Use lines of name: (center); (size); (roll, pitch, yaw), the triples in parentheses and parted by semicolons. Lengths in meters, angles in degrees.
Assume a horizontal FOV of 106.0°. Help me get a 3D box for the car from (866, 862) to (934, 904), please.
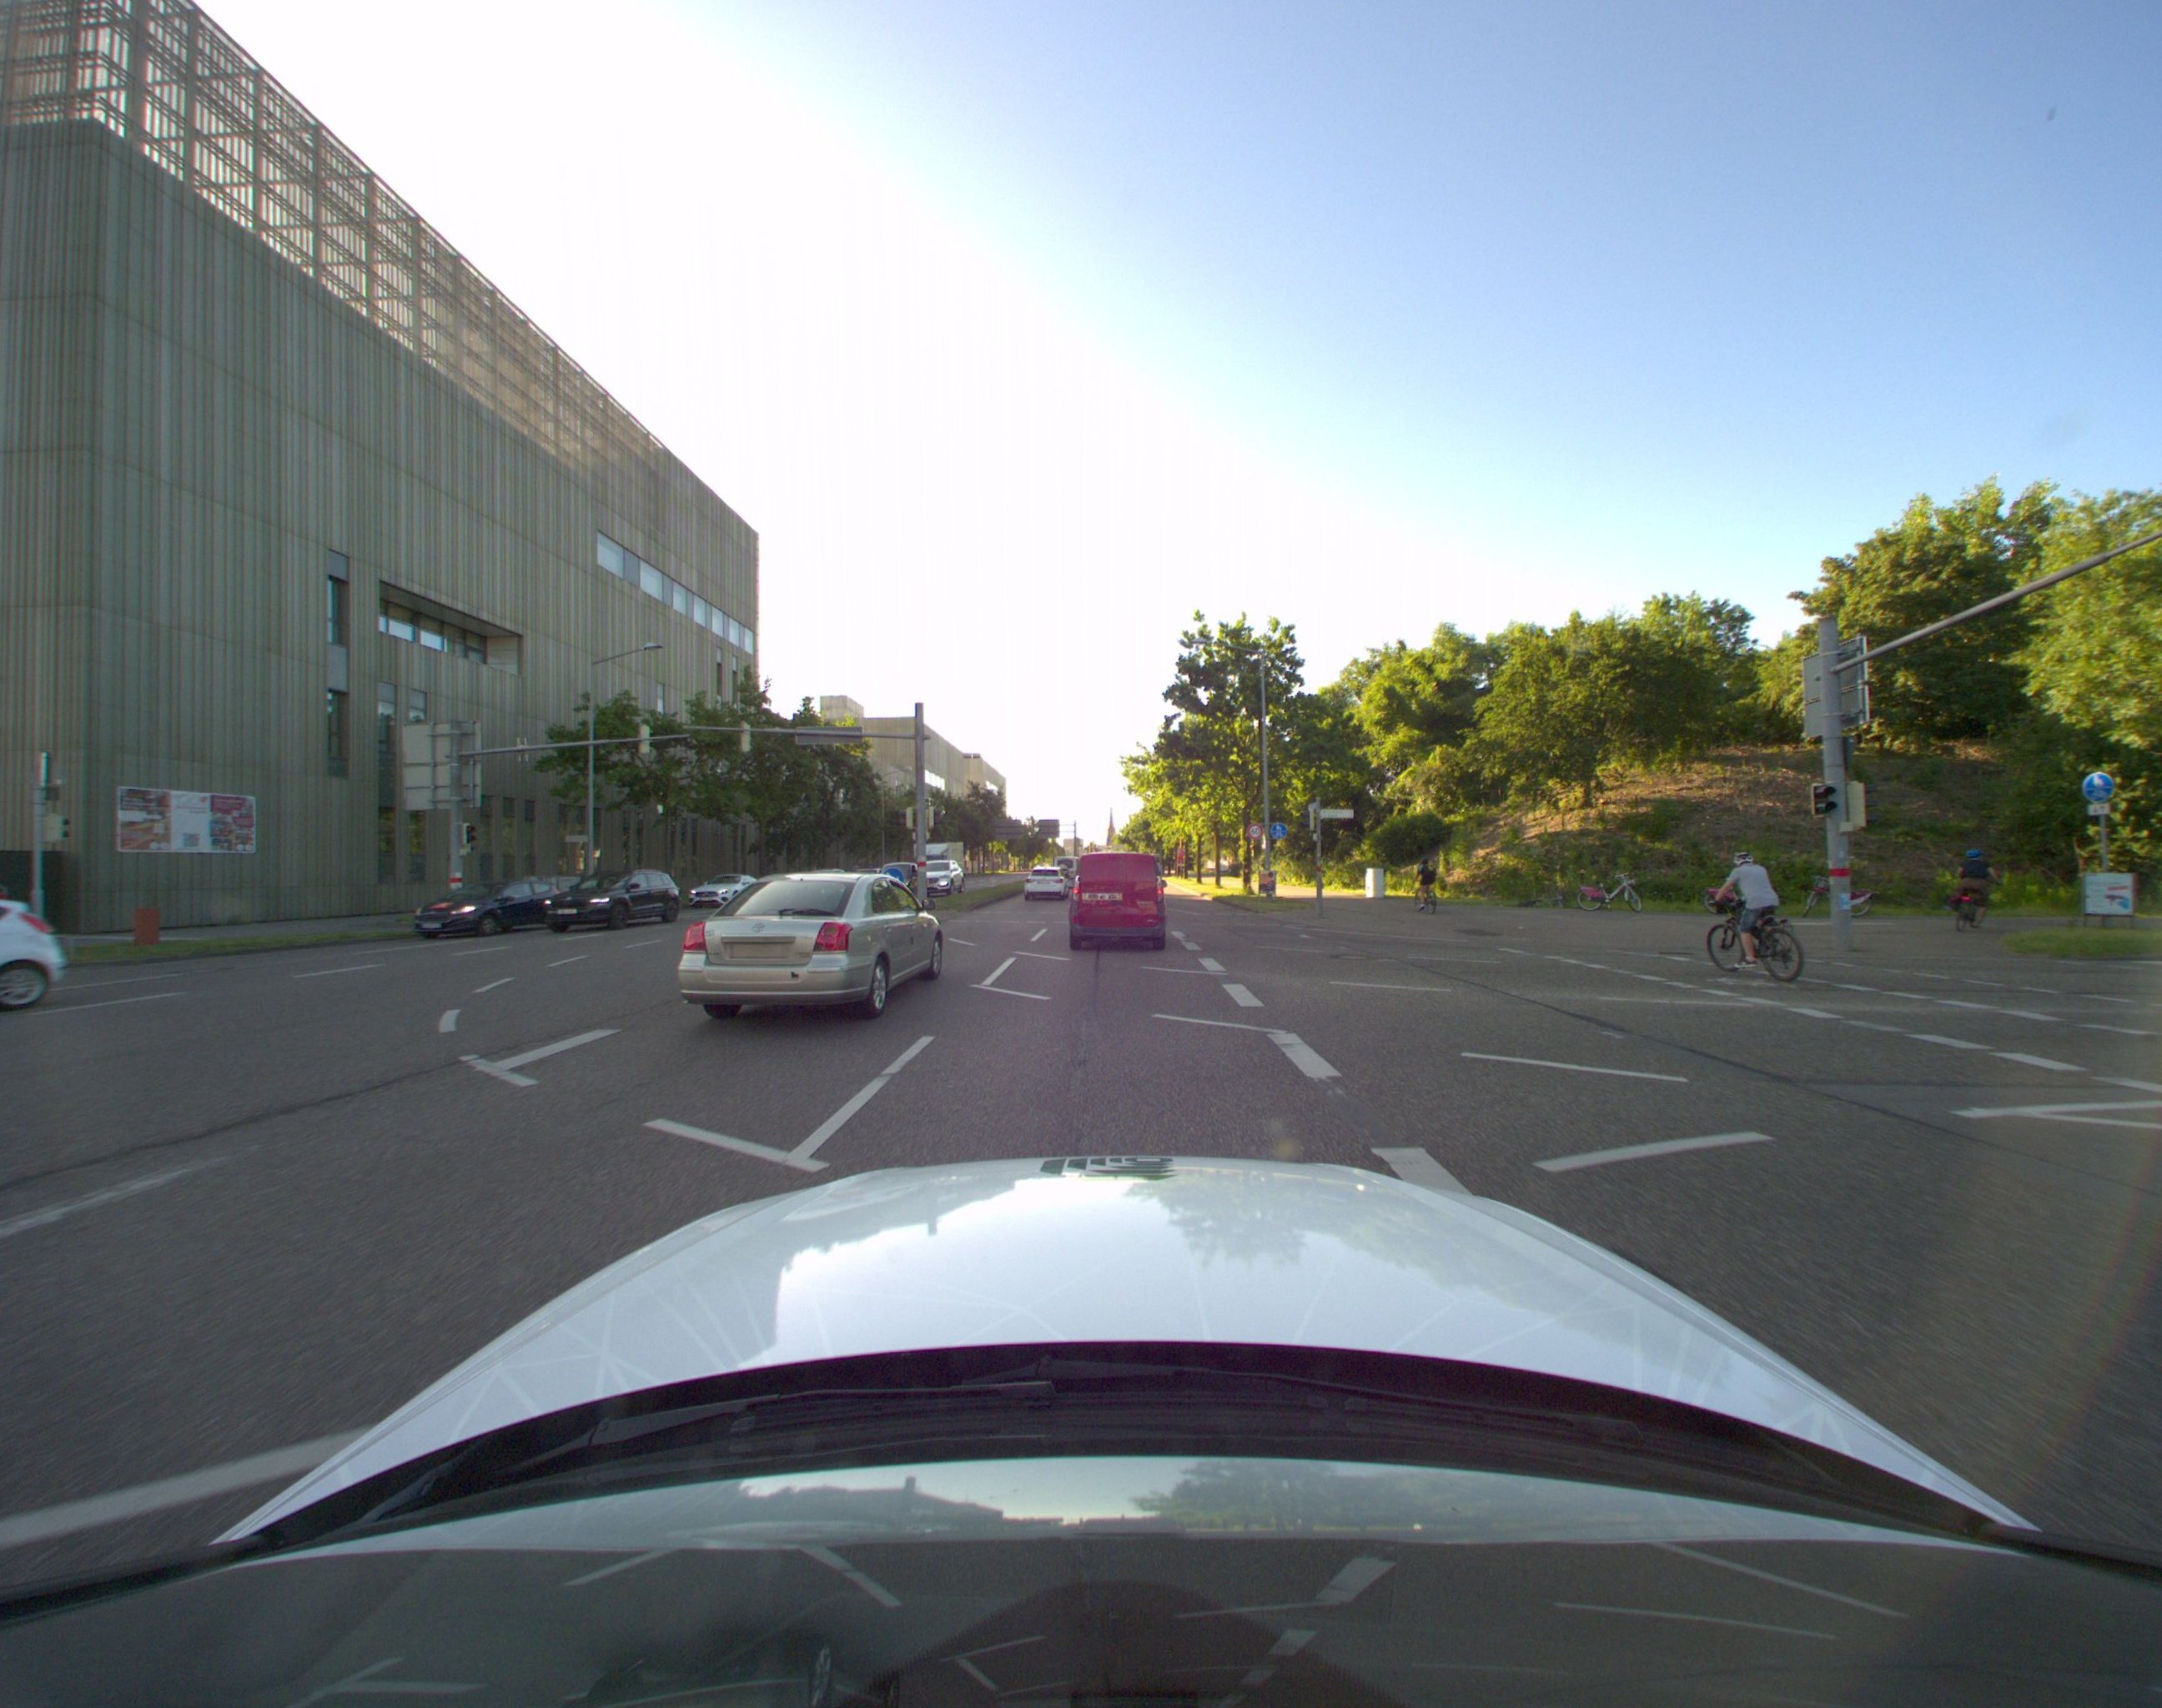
car: (-6.836, 1.088, 31.105); (1.630, 1.443, 3.720); (-3, -1, 2)

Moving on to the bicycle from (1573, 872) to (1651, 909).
bicycle: (14.875, 1.022, 22.843); (1.734, 1.023, 0.595); (0, -3, 9)

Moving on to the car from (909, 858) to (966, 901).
car: (-6.620, 1.172, 37.937); (1.751, 1.796, 4.084); (-3, -1, 2)

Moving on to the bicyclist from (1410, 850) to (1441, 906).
bicyclist: (10.253, 0.722, 24.265); (0.589, 1.614, 0.943); (0, -3, 4)

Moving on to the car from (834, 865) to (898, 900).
car: (-9.666, 1.270, 36.924); (1.630, 1.443, 4.078); (-3, -1, 2)

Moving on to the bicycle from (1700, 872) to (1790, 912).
bicycle: (17.390, 0.989, 21.362); (1.734, 1.023, 0.595); (0, -3, 9)

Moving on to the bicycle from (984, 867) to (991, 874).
bicycle: (-18.000, 3.160, 156.891); (0.906, 1.200, 3.302); (0, -2, 2)

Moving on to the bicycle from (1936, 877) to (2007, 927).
bicycle: (19.162, 1.017, 17.523); (2.063, 1.023, 0.667); (2, -3, -33)

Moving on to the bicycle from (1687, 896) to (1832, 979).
bicycle: (9.162, 1.090, 11.095); (0.589, 1.023, 1.752); (0, -2, 4)

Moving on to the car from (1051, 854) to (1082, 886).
car: (-0.894, 1.094, 52.830); (1.794, 1.989, 4.588); (0, -2, 1)

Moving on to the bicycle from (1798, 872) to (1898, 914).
bicycle: (19.150, 0.977, 20.369); (1.733, 1.023, 0.595); (0, -3, 12)

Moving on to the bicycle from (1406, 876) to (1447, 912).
bicycle: (10.267, 1.184, 24.249); (0.589, 1.023, 1.752); (0, -2, 4)

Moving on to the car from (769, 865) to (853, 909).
car: (-10.000, 1.204, 30.481); (1.630, 1.443, 4.078); (-3, -1, 2)

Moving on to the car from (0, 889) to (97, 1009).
car: (-13.762, 1.166, 8.663); (1.640, 1.404, 3.980); (-3, -1, 3)

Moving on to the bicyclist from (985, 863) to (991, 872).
bicyclist: (-18.005, 2.571, 156.915); (0.906, 1.686, 1.409); (0, -2, 2)

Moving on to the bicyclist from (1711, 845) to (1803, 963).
bicyclist: (9.153, 0.668, 11.057); (0.589, 1.549, 0.770); (0, -3, 4)

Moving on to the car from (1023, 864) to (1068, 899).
car: (-1.498, 1.171, 35.693); (1.808, 1.438, 3.730); (0, -1, 0)

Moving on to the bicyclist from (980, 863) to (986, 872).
bicyclist: (-18.949, 2.561, 156.899); (0.906, 1.766, 1.397); (0, -2, 2)

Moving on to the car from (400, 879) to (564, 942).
car: (-15.923, 1.450, 21.874); (1.639, 1.434, 3.495); (-3, -1, 3)

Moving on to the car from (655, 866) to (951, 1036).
car: (-2.789, 0.894, 9.311); (1.726, 1.480, 4.321); (-1, -1, 3)

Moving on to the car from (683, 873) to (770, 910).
car: (-15.511, 1.588, 35.906); (1.683, 1.443, 4.561); (-3, -1, 2)

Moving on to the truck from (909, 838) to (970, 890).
truck: (-8.935, 0.659, 52.038); (2.400, 3.027, 6.658); (-3, -1, 2)

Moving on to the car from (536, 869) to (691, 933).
car: (-12.939, 1.249, 22.883); (1.640, 1.545, 4.399); (-3, -1, 2)

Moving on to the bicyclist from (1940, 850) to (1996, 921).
bicyclist: (19.045, 0.671, 17.488); (0.754, 1.475, 0.660); (2, -3, -32)

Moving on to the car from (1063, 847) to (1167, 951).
car: (0.639, 0.797, 16.189); (1.798, 1.794, 4.001); (0, 0, 1)
